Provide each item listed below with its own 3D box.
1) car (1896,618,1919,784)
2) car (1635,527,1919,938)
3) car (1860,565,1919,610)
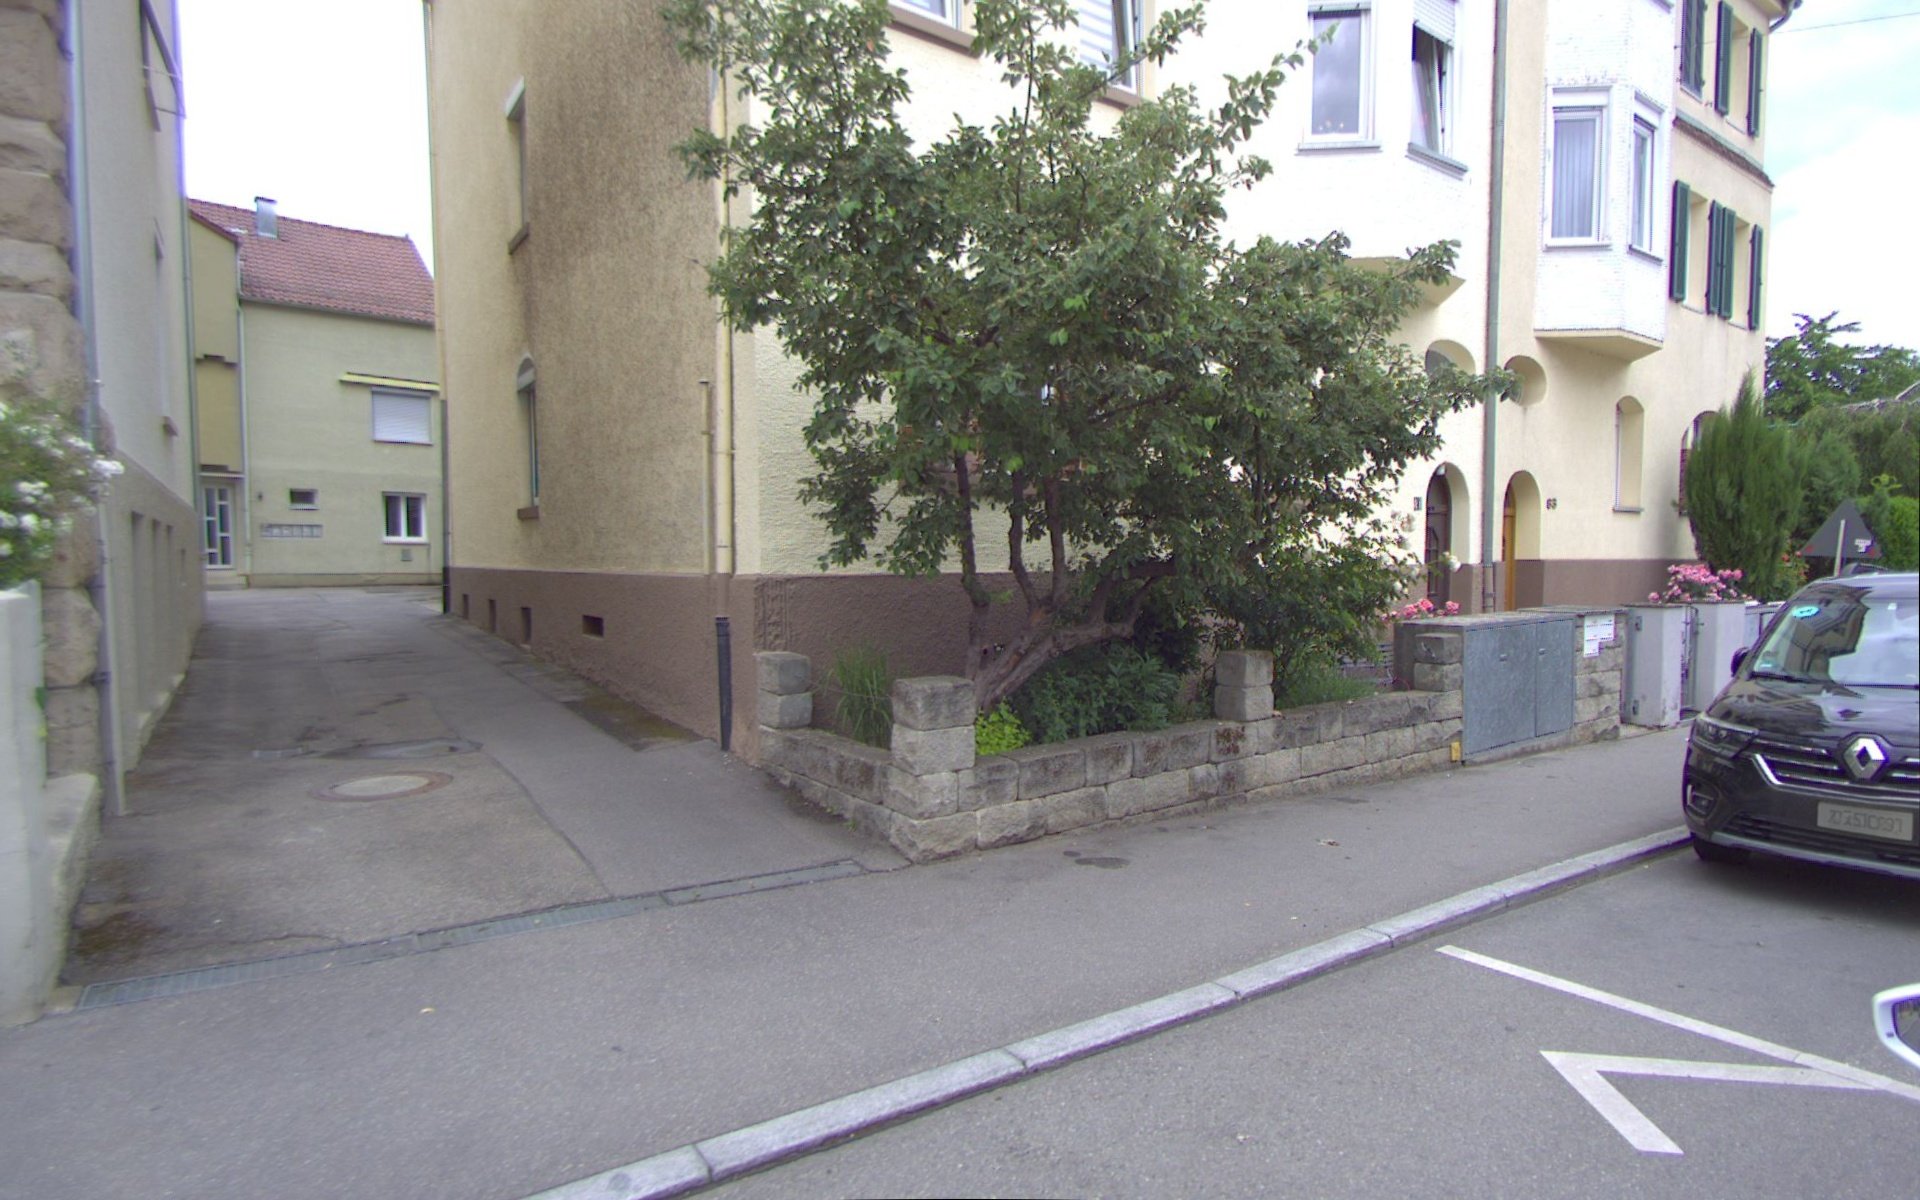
[{"bbox_3d":[10.099,0.893,9.212,3.825,1.406,1.629,0,1,-38],"label":"car"},{"bbox_3d":[5.937,0.634,6.065,4.506,1.839,1.830,1,0,-39],"label":"car"},{"bbox_3d":[37.961,-0.441,38.578,4.715,1.662,2.001,2,3,6],"label":"car"}]
